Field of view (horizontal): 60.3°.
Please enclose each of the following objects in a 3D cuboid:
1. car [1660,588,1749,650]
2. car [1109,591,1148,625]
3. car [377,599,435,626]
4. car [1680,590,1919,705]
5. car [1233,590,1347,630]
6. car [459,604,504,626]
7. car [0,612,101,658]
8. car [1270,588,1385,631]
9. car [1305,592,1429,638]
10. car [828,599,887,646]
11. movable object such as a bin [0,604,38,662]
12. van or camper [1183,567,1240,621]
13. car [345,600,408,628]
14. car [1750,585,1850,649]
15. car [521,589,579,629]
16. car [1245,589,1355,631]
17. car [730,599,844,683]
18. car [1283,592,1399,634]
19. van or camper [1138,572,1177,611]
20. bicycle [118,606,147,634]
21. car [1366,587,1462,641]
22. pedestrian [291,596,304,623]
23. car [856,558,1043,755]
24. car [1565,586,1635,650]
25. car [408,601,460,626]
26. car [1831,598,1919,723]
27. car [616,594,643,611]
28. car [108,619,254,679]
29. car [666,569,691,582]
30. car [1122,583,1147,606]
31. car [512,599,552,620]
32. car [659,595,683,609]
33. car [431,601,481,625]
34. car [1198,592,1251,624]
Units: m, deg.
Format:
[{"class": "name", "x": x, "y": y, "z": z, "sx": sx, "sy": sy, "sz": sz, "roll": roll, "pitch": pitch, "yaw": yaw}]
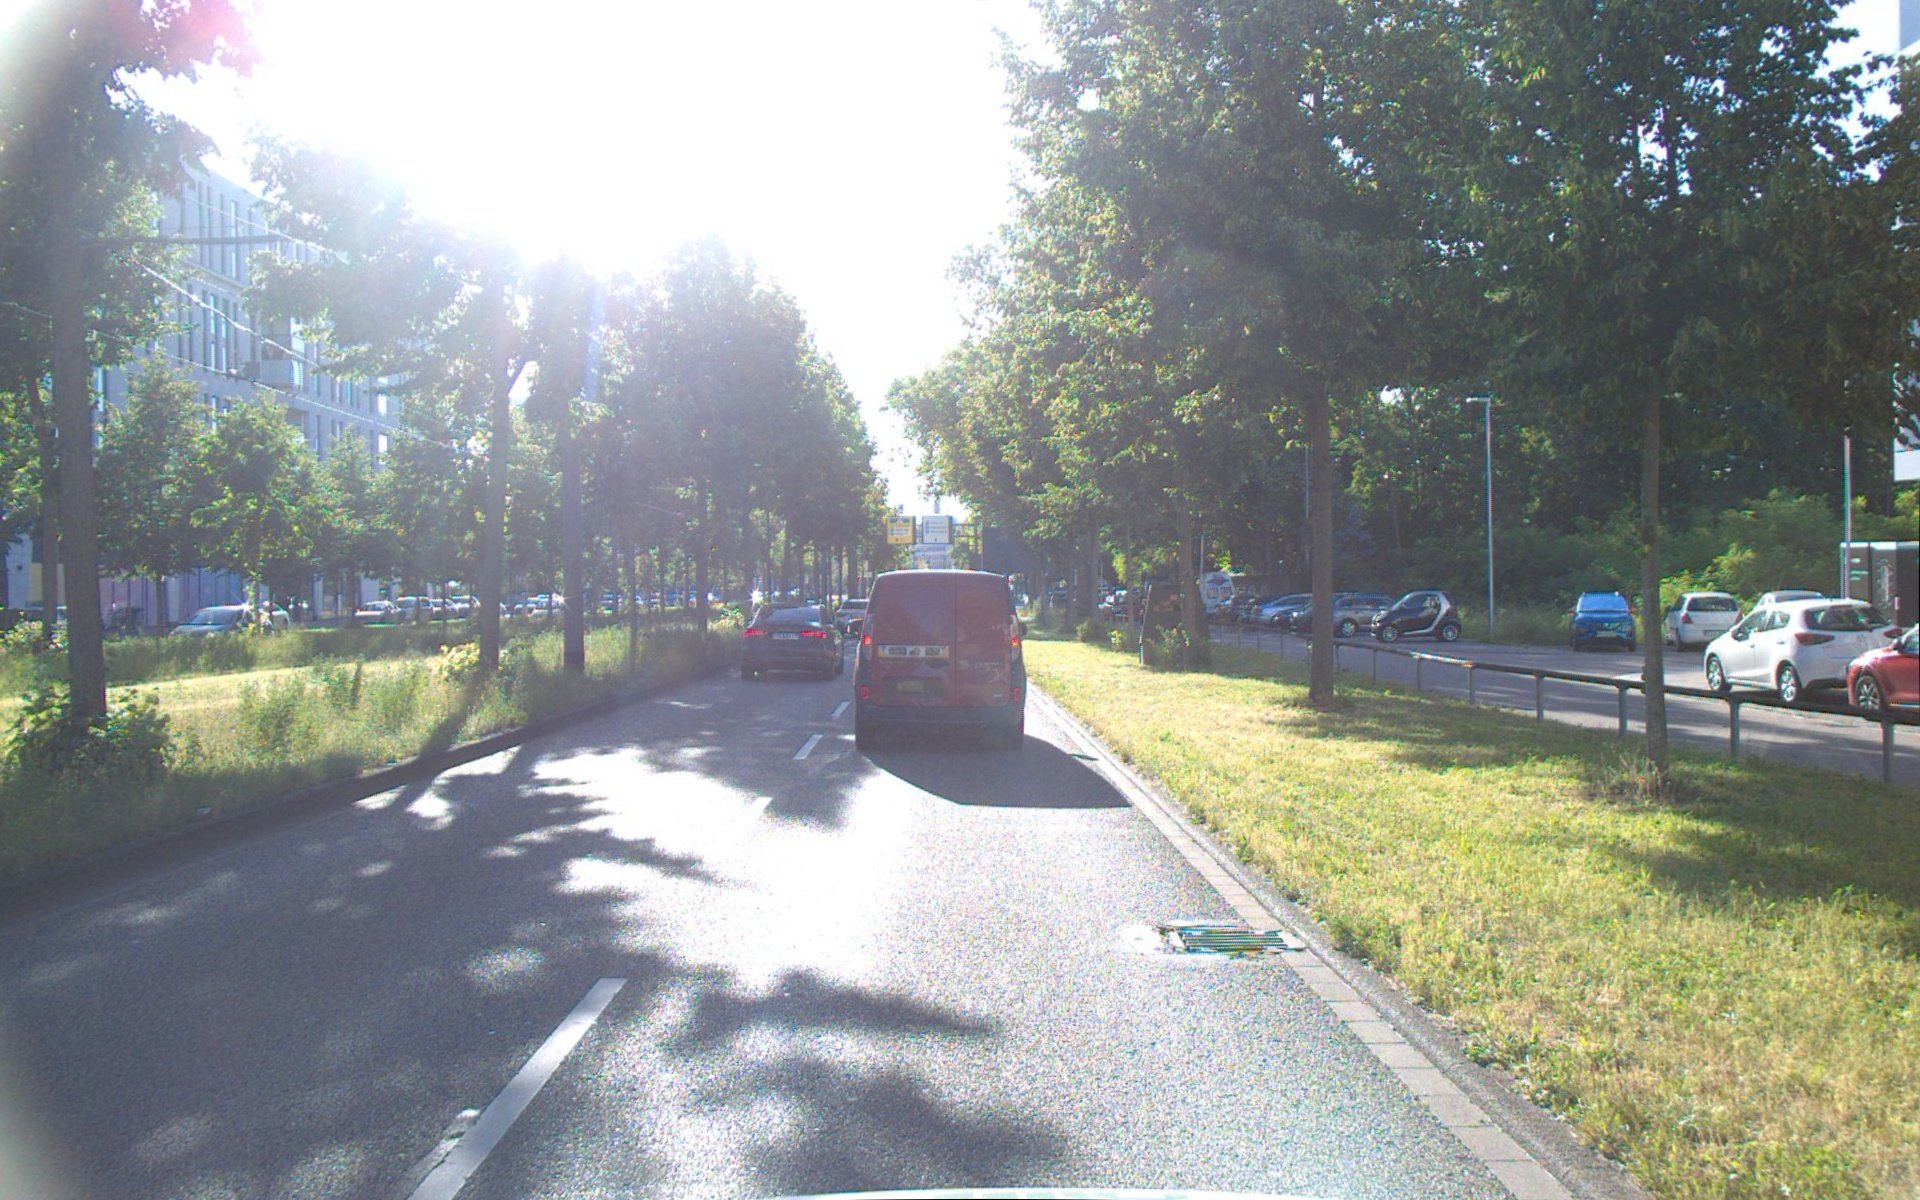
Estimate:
[{"class": "car", "x": 19.991, "y": 0.492, "z": 44.516, "sx": 1.710, "sy": 1.563, "sz": 3.883, "roll": 1, "pitch": 0, "yaw": 17}, {"class": "car", "x": 8.734, "y": 0.410, "z": 85.961, "sx": 1.951, "sy": 1.668, "sz": 4.002, "roll": 1, "pitch": 0, "yaw": 6}, {"class": "car", "x": -32.191, "y": 0.708, "z": 96.222, "sx": 1.953, "sy": 1.466, "sz": 4.455, "roll": 1, "pitch": 0, "yaw": -1}, {"class": "car", "x": 13.060, "y": 0.671, "z": 25.620, "sx": 1.952, "sy": 1.512, "sz": 4.403, "roll": -3, "pitch": 0, "yaw": 2}, {"class": "car", "x": 14.708, "y": 0.437, "z": 73.955, "sx": 4.624, "sy": 1.430, "sz": 2.000, "roll": -4, "pitch": 0, "yaw": -1}, {"class": "car", "x": -32.952, "y": 1.018, "z": 113.962, "sx": 1.954, "sy": 1.466, "sz": 4.453, "roll": 1, "pitch": 0, "yaw": -3}, {"class": "car", "x": -31.504, "y": 1.183, "z": 56.853, "sx": 1.954, "sy": 1.466, "sz": 4.017, "roll": 1, "pitch": 0, "yaw": -3}, {"class": "car", "x": 15.109, "y": 0.382, "z": 68.122, "sx": 4.244, "sy": 1.503, "sz": 1.905, "roll": -3, "pitch": 1, "yaw": -5}, {"class": "car", "x": 14.613, "y": 0.550, "z": 59.505, "sx": 3.996, "sy": 1.493, "sz": 1.715, "roll": -2, "pitch": 0, "yaw": 0}, {"class": "car", "x": -3.785, "y": 0.811, "z": 61.768, "sx": 1.953, "sy": 1.646, "sz": 3.999, "roll": 1, "pitch": 0, "yaw": -1}, {"class": "movable object such as a bin", "x": -31.187, "y": 1.035, "z": 53.387, "sx": 1.931, "sy": 1.826, "sz": 1.555, "roll": 1, "pitch": 0, "yaw": -3}, {"class": "van or camper", "x": 13.727, "y": -0.315, "z": 90.599, "sx": 1.954, "sy": 2.778, "sz": 4.960, "roll": -3, "pitch": 0, "yaw": -4}, {"class": "car", "x": -32.172, "y": 0.744, "z": 91.273, "sx": 1.954, "sy": 1.466, "sz": 4.776, "roll": 1, "pitch": 0, "yaw": -3}, {"class": "car", "x": 22.103, "y": 0.447, "z": 43.641, "sx": 1.681, "sy": 1.567, "sz": 3.953, "roll": 1, "pitch": 0, "yaw": 17}, {"class": "car", "x": -21.835, "y": 0.481, "z": 88.252, "sx": 1.952, "sy": 2.049, "sz": 4.001, "roll": 1, "pitch": 0, "yaw": 2}, {"class": "car", "x": 14.558, "y": 0.403, "z": 71.039, "sx": 4.290, "sy": 1.435, "sz": 2.001, "roll": -5, "pitch": 0, "yaw": 2}, {"class": "car", "x": -3.230, "y": 0.739, "z": 31.527, "sx": 1.755, "sy": 1.453, "sz": 3.999, "roll": 1, "pitch": 0, "yaw": -1}, {"class": "car", "x": 14.944, "y": 0.487, "z": 64.958, "sx": 4.108, "sy": 1.524, "sz": 1.781, "roll": -1, "pitch": 0, "yaw": -4}, {"class": "van or camper", "x": 15.011, "y": -0.656, "z": 125.987, "sx": 2.503, "sy": 2.731, "sz": 6.568, "roll": -2, "pitch": 0, "yaw": 4}, {"class": "bicycle", "x": -38.905, "y": 0.929, "z": 77.793, "sx": 0.586, "sy": 1.303, "sz": 1.607, "roll": 1, "pitch": 0, "yaw": -3}, {"class": "car", "x": 14.235, "y": 0.439, "z": 51.910, "sx": 2.707, "sy": 1.577, "sz": 1.463, "roll": -2, "pitch": -1, "yaw": 8}, {"class": "pedestrian", "x": -42.295, "y": 0.623, "z": 105.603, "sx": 0.624, "sy": 1.680, "sz": 0.719, "roll": 1, "pitch": -1, "yaw": -8}, {"class": "car", "x": -0.222, "y": 0.555, "z": 17.943, "sx": 1.773, "sy": 1.870, "sz": 3.997, "roll": 1, "pitch": 0, "yaw": -4}, {"class": "car", "x": 17.404, "y": 0.458, "z": 45.069, "sx": 1.560, "sy": 1.572, "sz": 3.822, "roll": -1, "pitch": 1, "yaw": 19}, {"class": "car", "x": -32.359, "y": 0.805, "z": 101.812, "sx": 1.954, "sy": 1.466, "sz": 4.453, "roll": 1, "pitch": 0, "yaw": -3}, {"class": "car", "x": 12.913, "y": 0.733, "z": 20.558, "sx": 1.827, "sy": 1.512, "sz": 4.272, "roll": -3, "pitch": 0, "yaw": -1}, {"class": "car", "x": -34.092, "y": 0.244, "z": 170.554, "sx": 1.840, "sy": 1.649, "sz": 4.611, "roll": 1, "pitch": 0, "yaw": 0}, {"class": "car", "x": -21.208, "y": 1.301, "z": 45.250, "sx": 1.953, "sy": 1.466, "sz": 4.454, "roll": 1, "pitch": 0, "yaw": -1}, {"class": "car", "x": -30.788, "y": -2.658, "z": 180.798, "sx": 1.873, "sy": 1.348, "sz": 4.611, "roll": 1, "pitch": 0, "yaw": 0}, {"class": "car", "x": 15.589, "y": -0.482, "z": 148.001, "sx": 2.043, "sy": 2.049, "sz": 4.945, "roll": 0, "pitch": 0, "yaw": 4}, {"class": "car", "x": -32.446, "y": 0.710, "z": 125.400, "sx": 1.918, "sy": 1.466, "sz": 4.265, "roll": 1, "pitch": 0, "yaw": 0}, {"class": "car", "x": -33.626, "y": 0.258, "z": 192.702, "sx": 1.952, "sy": 1.636, "sz": 4.611, "roll": 1, "pitch": 0, "yaw": 0}, {"class": "car", "x": -32.765, "y": 0.820, "z": 107.608, "sx": 1.954, "sy": 1.466, "sz": 4.933, "roll": 1, "pitch": 0, "yaw": -3}, {"class": "car", "x": 13.517, "y": 0.406, "z": 84.712, "sx": 1.953, "sy": 1.601, "sz": 3.999, "roll": 1, "pitch": 0, "yaw": -1}]
